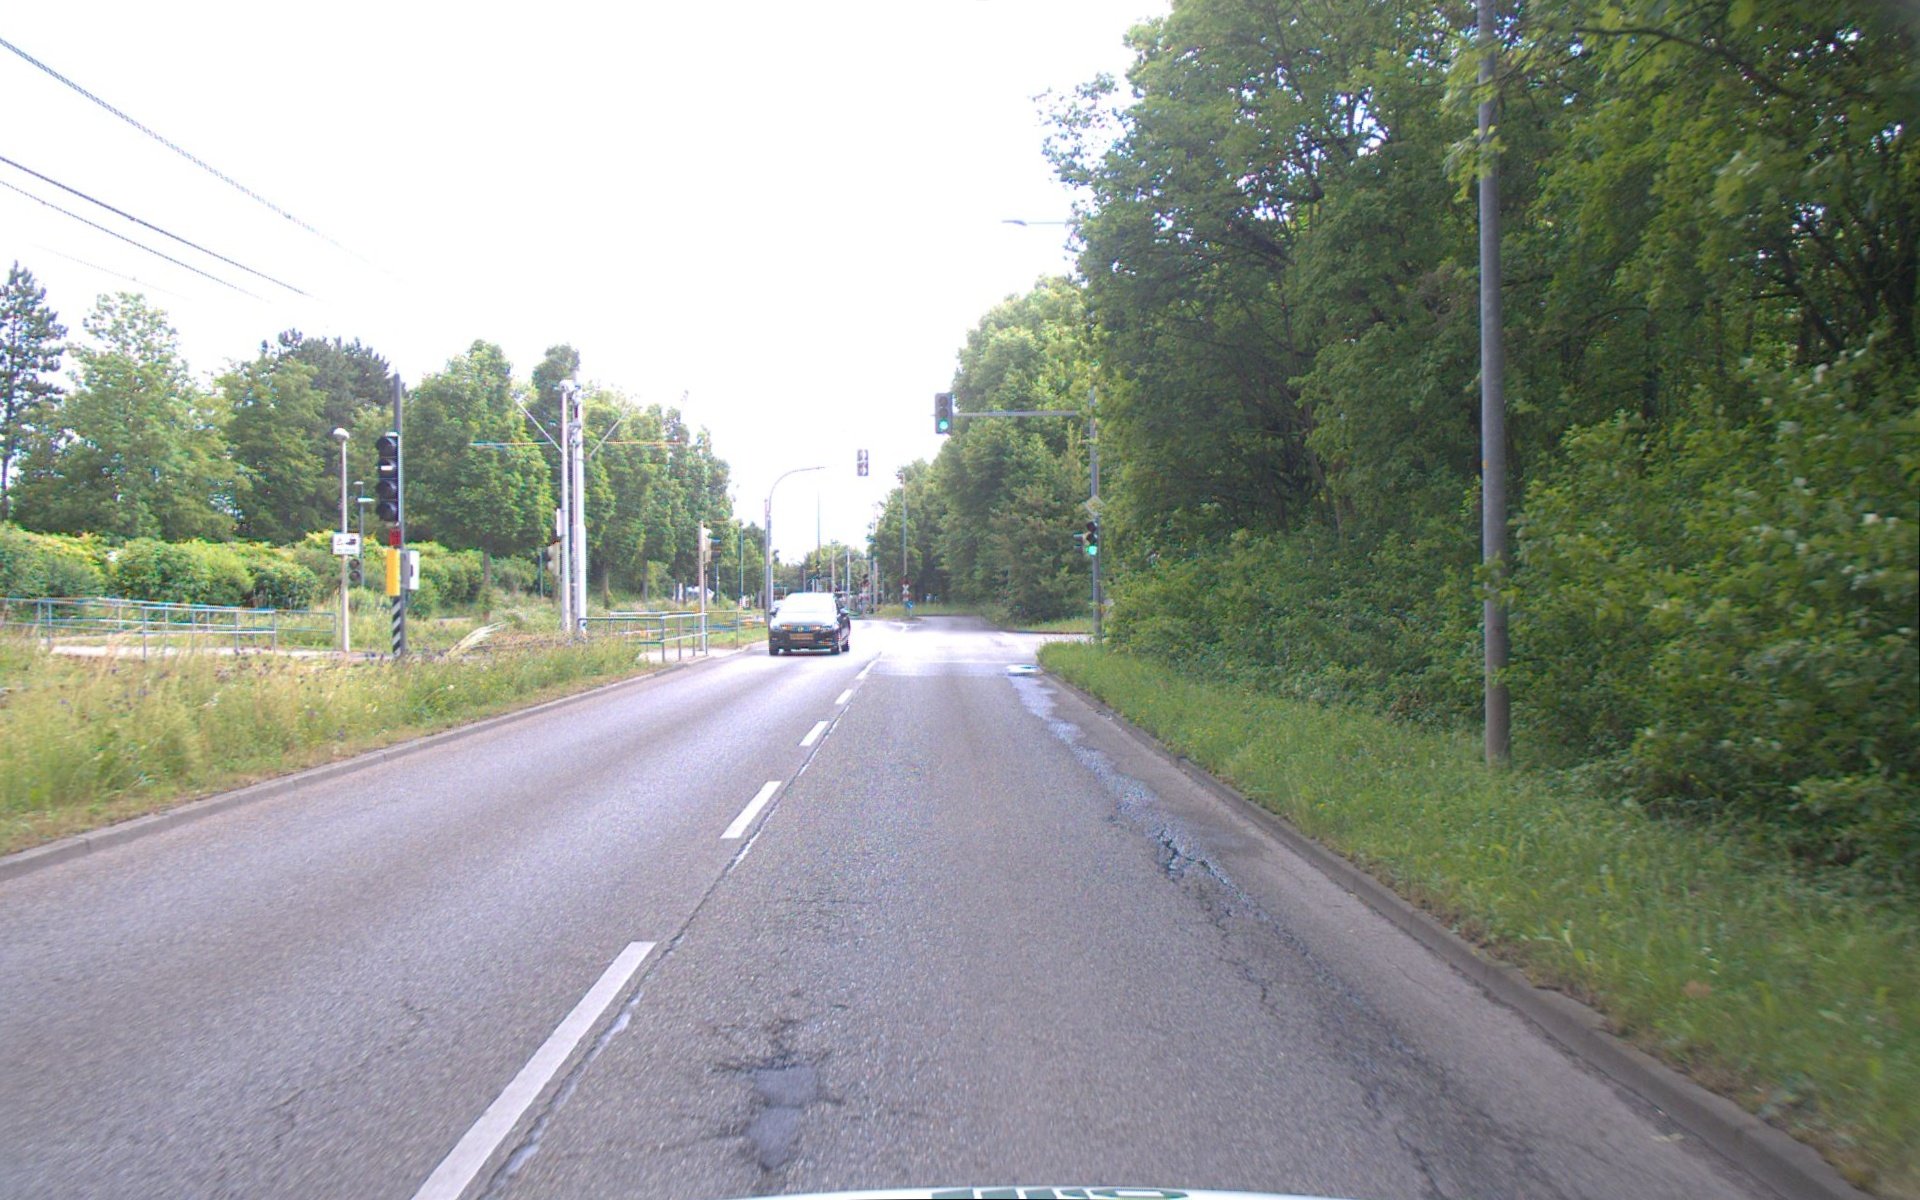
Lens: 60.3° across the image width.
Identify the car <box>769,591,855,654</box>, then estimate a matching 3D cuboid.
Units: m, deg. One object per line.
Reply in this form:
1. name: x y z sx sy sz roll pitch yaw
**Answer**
1. car: -3.667 0.526 41.551 1.812 1.496 4.255 0 0 -1
